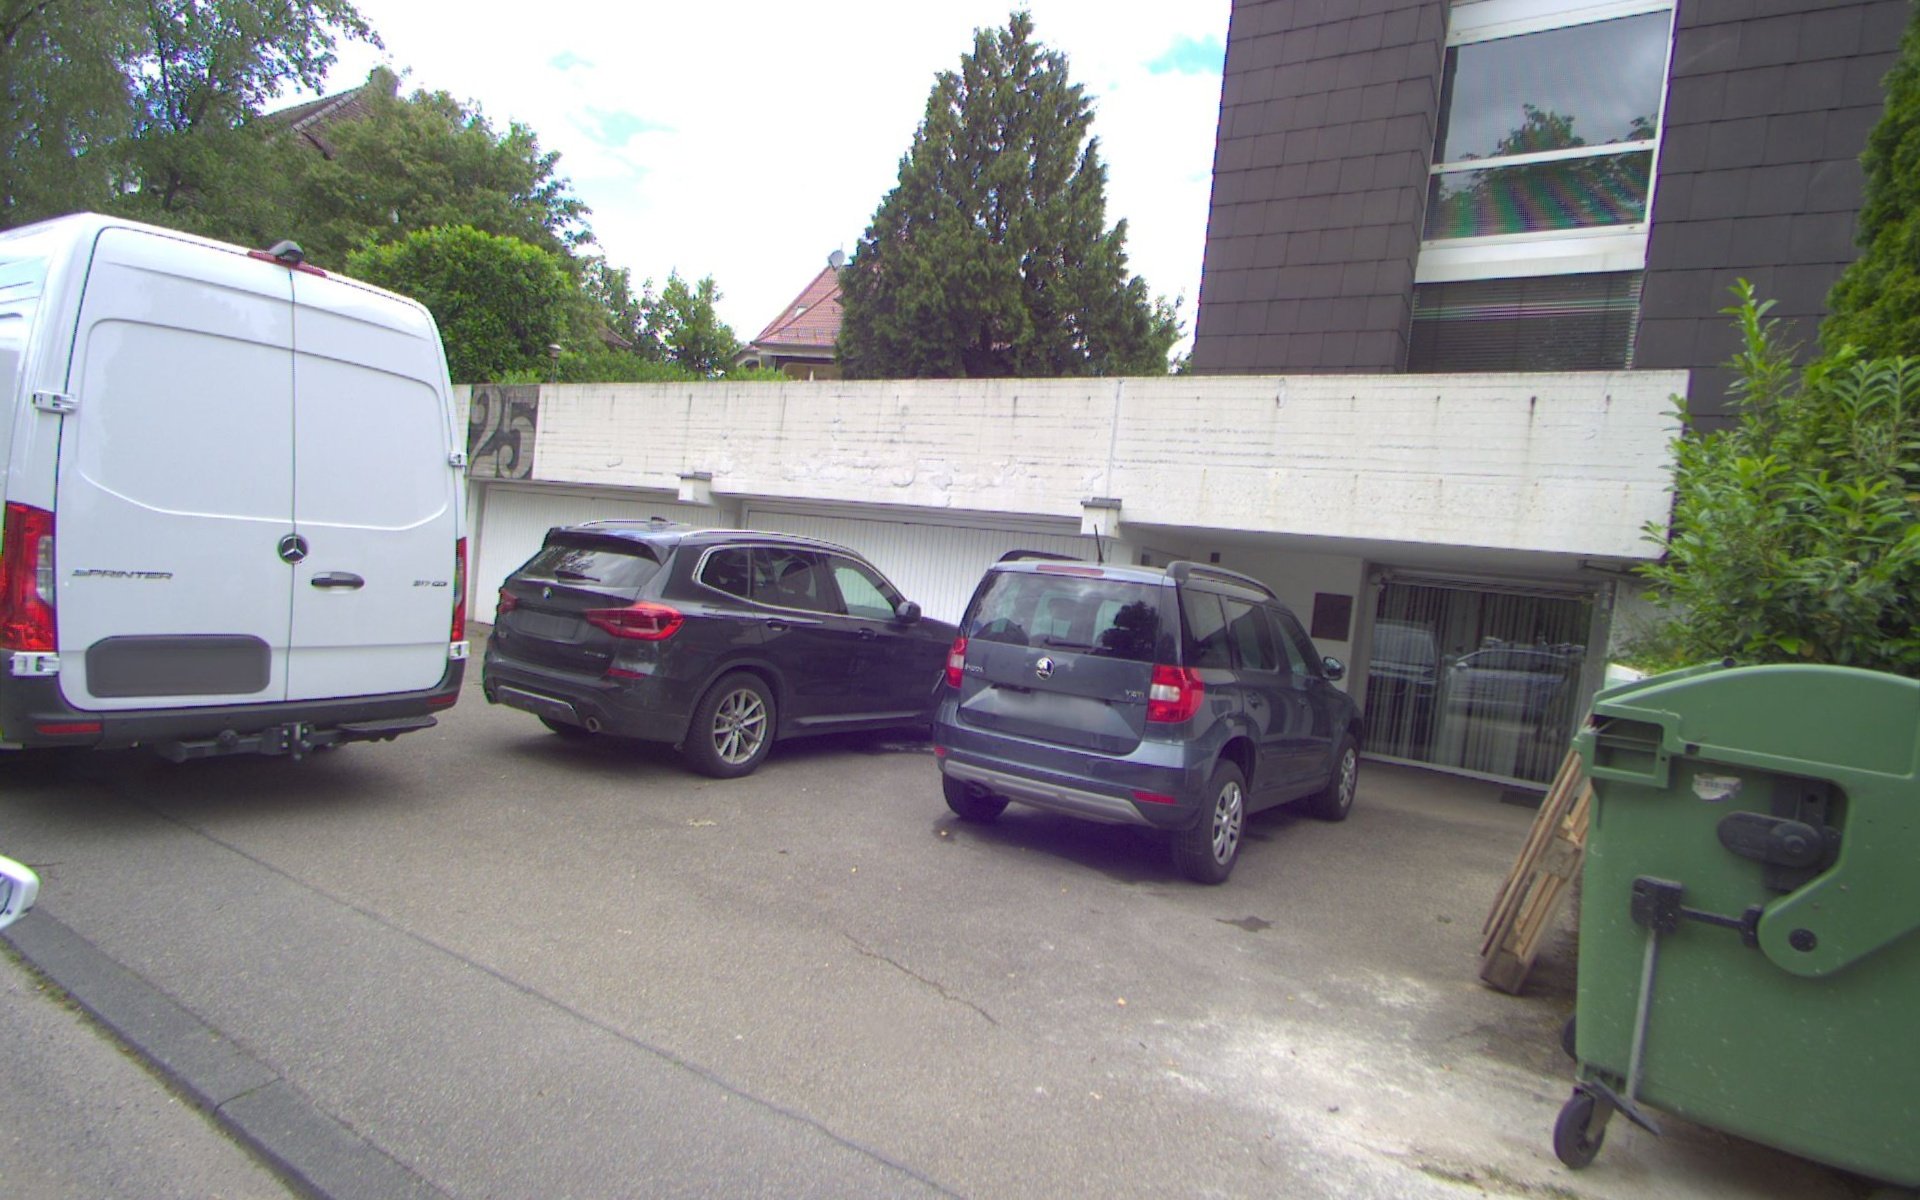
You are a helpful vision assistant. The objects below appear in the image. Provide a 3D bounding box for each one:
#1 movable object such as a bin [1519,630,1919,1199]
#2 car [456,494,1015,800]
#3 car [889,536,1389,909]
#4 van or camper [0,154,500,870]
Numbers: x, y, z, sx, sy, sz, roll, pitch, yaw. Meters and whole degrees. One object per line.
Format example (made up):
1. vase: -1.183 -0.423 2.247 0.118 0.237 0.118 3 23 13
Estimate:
1. movable object such as a bin: 2.401 0.899 2.989 1.098 1.469 1.405 6 1 32
2. car: -1.414 0.318 8.049 1.668 1.696 4.383 6 1 32
3. car: 1.476 0.639 6.809 1.717 1.673 3.899 6 1 35
4. van or camper: -5.781 -0.584 6.291 6.436 2.662 1.990 6 4 32
